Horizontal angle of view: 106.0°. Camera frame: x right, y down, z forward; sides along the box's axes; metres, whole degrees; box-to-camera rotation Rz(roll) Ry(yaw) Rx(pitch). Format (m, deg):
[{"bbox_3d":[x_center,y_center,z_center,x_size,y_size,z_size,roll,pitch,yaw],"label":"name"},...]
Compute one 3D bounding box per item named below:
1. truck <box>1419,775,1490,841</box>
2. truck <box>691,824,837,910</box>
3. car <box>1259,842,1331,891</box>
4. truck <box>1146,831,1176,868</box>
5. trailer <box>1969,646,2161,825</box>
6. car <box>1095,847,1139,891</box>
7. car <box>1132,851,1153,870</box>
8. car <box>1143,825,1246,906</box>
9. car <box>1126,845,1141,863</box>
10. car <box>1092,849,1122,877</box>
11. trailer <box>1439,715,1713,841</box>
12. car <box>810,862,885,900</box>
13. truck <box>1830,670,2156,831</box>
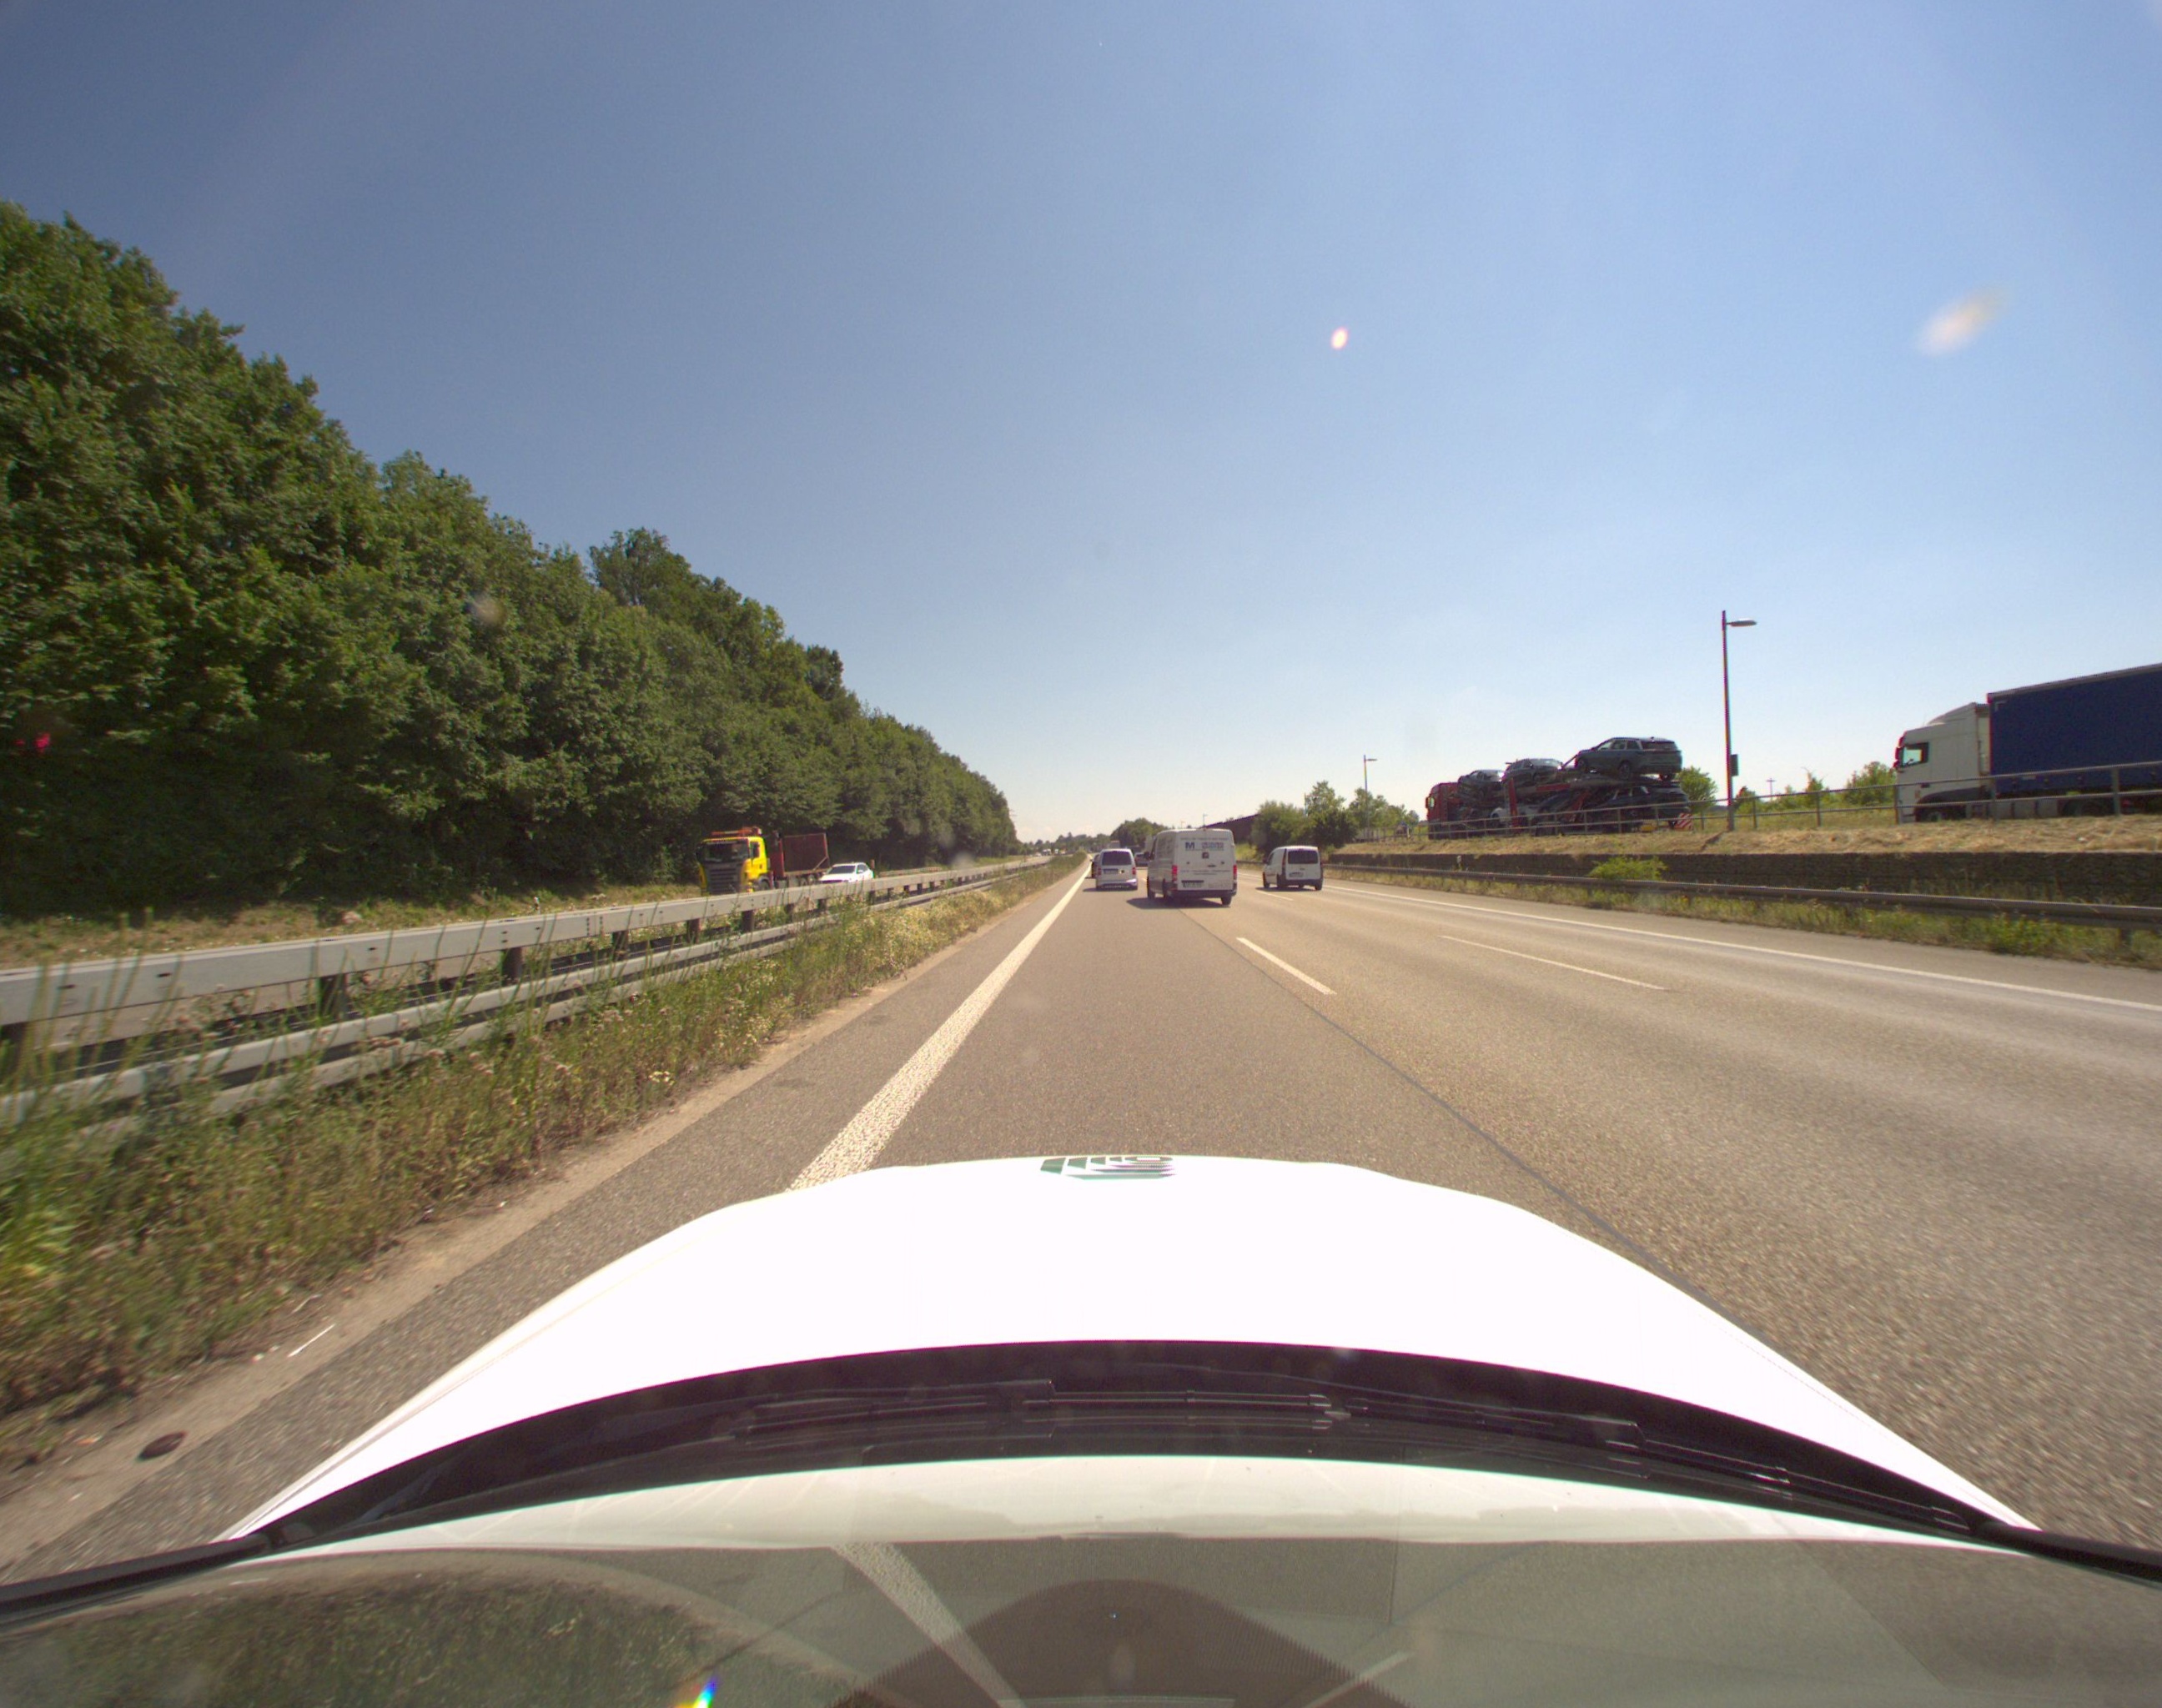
[{"bbox_3d":[22.867,-2.746,49.997,2.592,3.827,4.001,0,-1,1],"label":"truck"},{"bbox_3d":[-15.548,0.604,41.197,2.772,3.738,11.160,0,0,1],"label":"truck"},{"bbox_3d":[8.881,0.504,34.186,1.943,1.838,4.179,-2,-1,1],"label":"car"},{"bbox_3d":[11.303,-0.581,116.663,3.772,5.000,12.528,0,-1,3],"label":"truck"},{"bbox_3d":[27.131,-2.938,16.599,3.040,4.083,14.267,0,0,3],"label":"trailer"},{"bbox_3d":[1.600,0.630,35.761,1.737,1.764,4.092,-2,-1,3],"label":"car"},{"bbox_3d":[5.876,0.616,78.770,1.894,1.672,4.092,-2,-1,3],"label":"car"},{"bbox_3d":[3.437,0.342,25.803,2.177,2.254,5.355,-1,0,-4],"label":"car"},{"bbox_3d":[6.034,0.008,94.342,1.667,1.891,4.092,-2,-1,3],"label":"car"},{"bbox_3d":[1.720,0.588,52.782,1.737,1.701,4.092,-2,-1,4],"label":"car"},{"bbox_3d":[22.542,-2.976,39.646,2.596,4.258,18.427,0,0,2],"label":"trailer"},{"bbox_3d":[-11.797,1.309,41.672,1.986,1.670,5.613,-4,-1,1],"label":"car"},{"bbox_3d":[27.533,-2.888,25.165,3.040,4.083,6.402,0,-1,3],"label":"truck"}]
